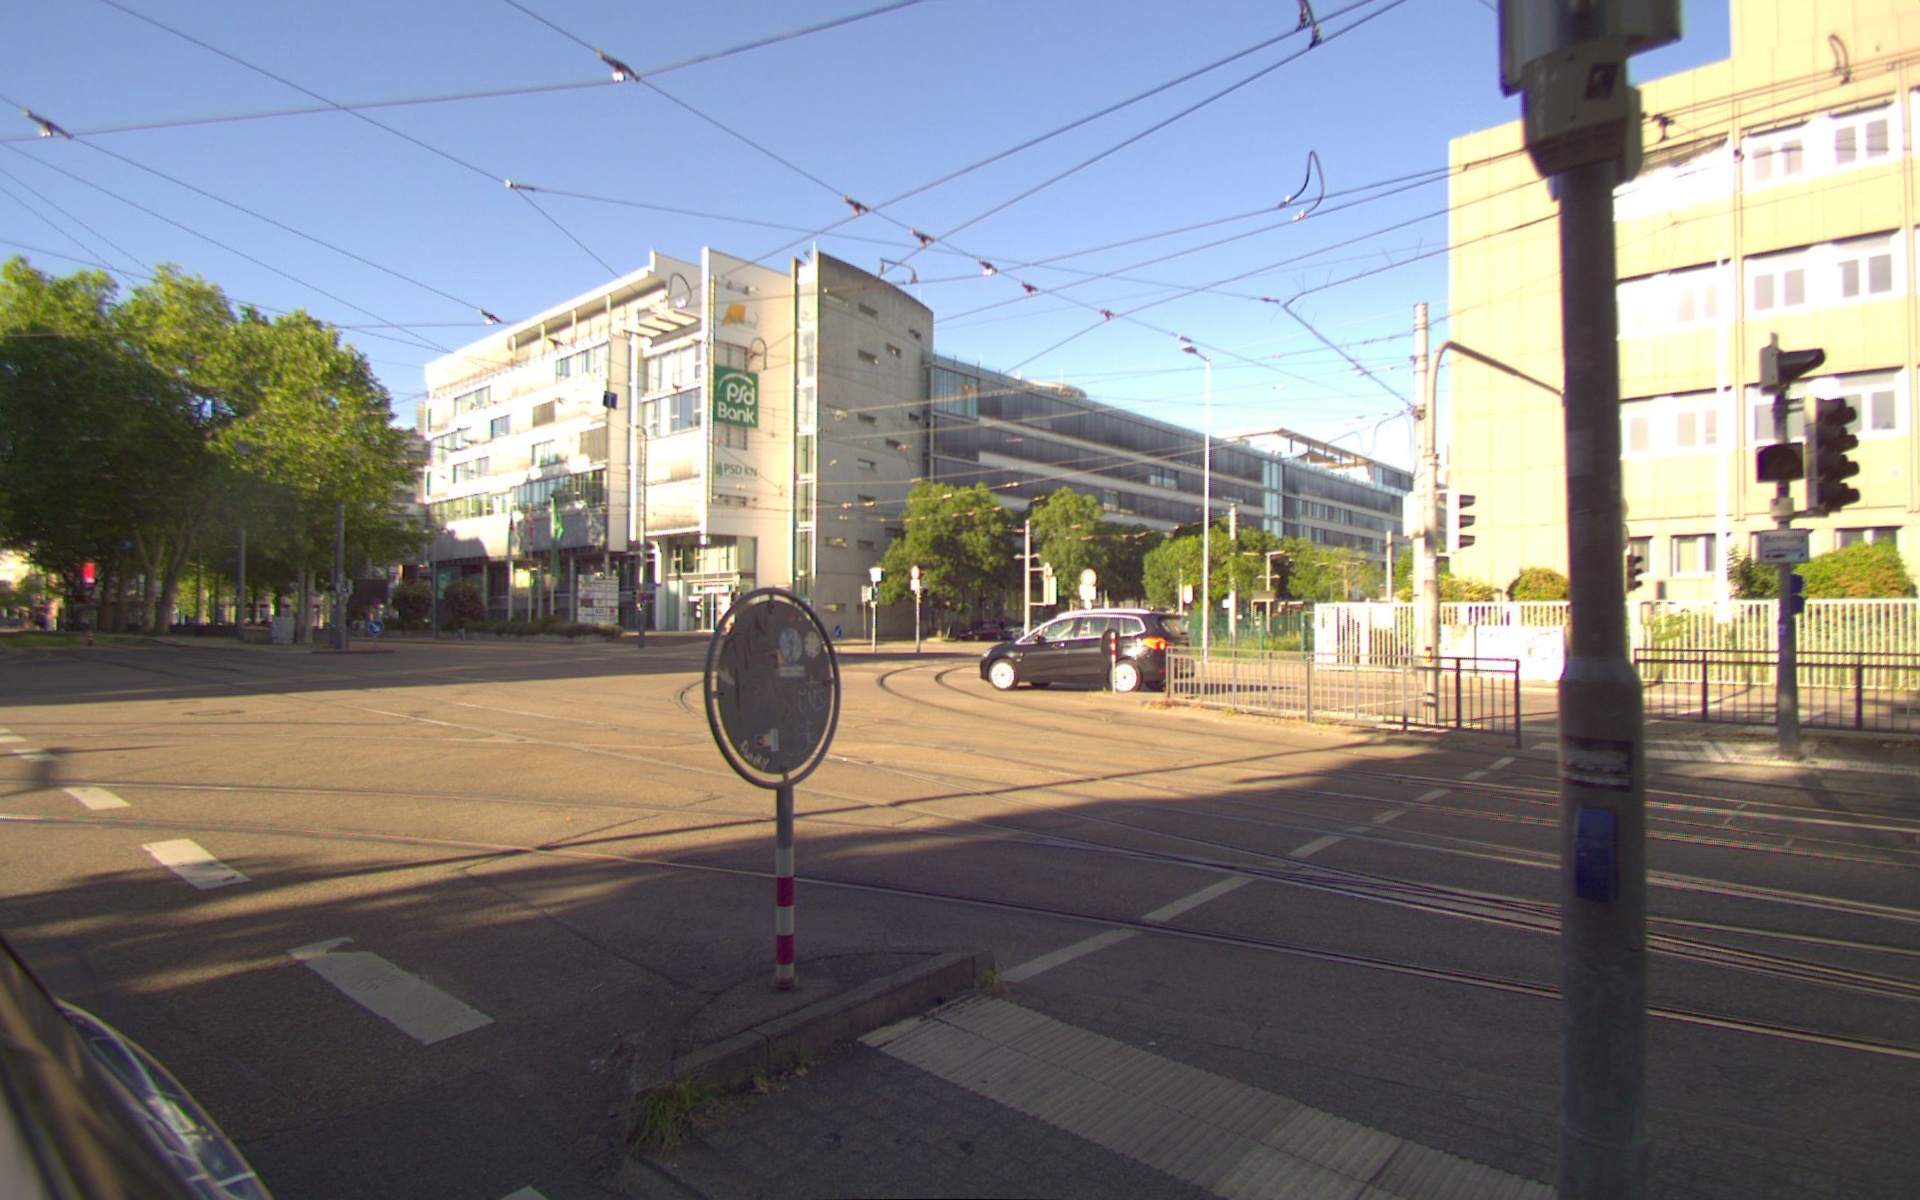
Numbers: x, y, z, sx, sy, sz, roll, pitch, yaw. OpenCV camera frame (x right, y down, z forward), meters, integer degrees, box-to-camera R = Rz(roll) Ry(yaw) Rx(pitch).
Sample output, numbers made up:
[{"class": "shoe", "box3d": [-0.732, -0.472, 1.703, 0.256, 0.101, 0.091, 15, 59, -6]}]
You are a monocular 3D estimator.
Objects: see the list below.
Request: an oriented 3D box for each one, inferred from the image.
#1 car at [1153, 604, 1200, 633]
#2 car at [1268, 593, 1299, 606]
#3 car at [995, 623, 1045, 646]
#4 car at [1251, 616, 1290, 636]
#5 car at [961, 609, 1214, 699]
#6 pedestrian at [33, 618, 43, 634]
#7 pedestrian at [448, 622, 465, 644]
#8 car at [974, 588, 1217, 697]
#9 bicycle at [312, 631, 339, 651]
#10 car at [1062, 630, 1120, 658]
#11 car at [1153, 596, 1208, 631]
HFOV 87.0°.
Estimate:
[{"class": "car", "box3d": [20.352, 1.760, 95.028, 2.230, 2.675, 5.061, -1, -1, 39]}, {"class": "car", "box3d": [35.514, -0.017, 111.051, 1.998, 1.357, 3.947, -1, -1, 39]}, {"class": "car", "box3d": [4.580, 2.605, 76.818, 1.735, 1.666, 3.899, -1, -1, 41]}, {"class": "car", "box3d": [25.902, 2.160, 84.334, 1.752, 1.570, 3.898, -1, -1, 39]}, {"class": "car", "box3d": [2.508, 1.036, 20.485, 4.746, 1.629, 1.975, -1, -2, 37]}, {"class": "pedestrian", "box3d": [-101.432, 2.848, 111.299, 0.675, 1.767, 0.649, -1, -2, 34]}, {"class": "pedestrian", "box3d": [-36.223, 2.358, 72.784, 0.767, 1.604, 0.896, -1, -2, 42]}, {"class": "car", "box3d": [2.663, 0.817, 20.231, 4.410, 1.962, 1.978, -1, -2, 32]}, {"class": "bicycle", "box3d": [-30.425, 1.962, 48.537, 0.803, 0.953, 1.728, 1, -2, -42]}, {"class": "car", "box3d": [8.401, 2.762, 64.775, 2.104, 1.710, 3.923, -1, -2, 35]}, {"class": "car", "box3d": [16.153, 1.002, 73.961, 2.180, 2.524, 4.343, -1, -1, 39]}]
